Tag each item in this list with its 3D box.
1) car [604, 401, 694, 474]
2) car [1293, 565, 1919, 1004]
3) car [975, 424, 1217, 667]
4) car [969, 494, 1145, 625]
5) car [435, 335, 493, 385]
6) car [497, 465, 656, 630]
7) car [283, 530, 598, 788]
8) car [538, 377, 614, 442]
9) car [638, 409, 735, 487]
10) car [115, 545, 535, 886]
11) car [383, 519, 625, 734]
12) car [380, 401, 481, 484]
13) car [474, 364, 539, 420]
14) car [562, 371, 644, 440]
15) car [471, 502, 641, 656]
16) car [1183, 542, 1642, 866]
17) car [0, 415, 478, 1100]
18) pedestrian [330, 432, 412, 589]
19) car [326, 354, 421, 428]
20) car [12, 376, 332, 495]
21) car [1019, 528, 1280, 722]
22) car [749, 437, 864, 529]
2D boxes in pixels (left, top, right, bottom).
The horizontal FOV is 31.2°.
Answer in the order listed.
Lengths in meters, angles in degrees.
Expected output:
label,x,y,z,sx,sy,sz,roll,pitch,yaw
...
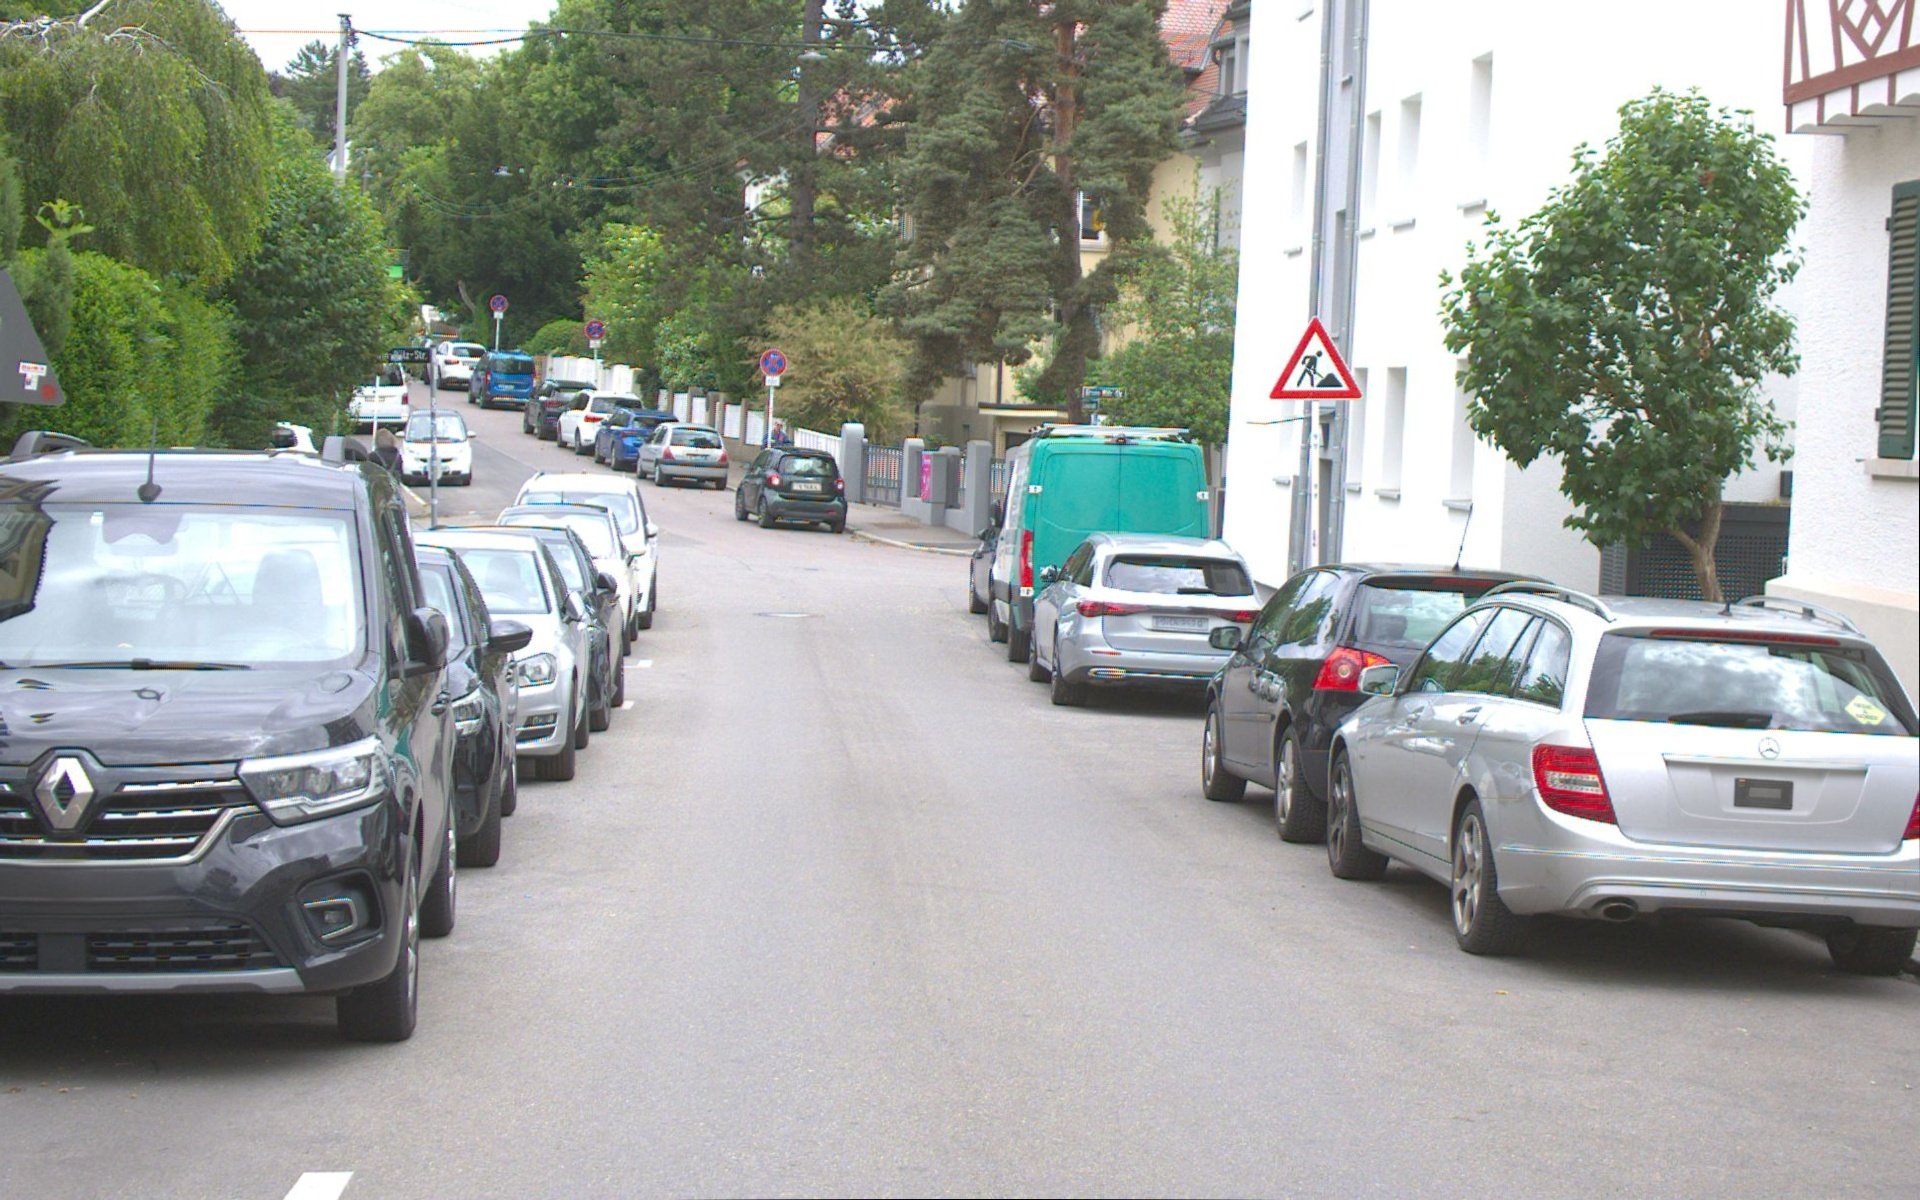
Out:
label,x,y,z,sx,sy,sz,roll,pitch,yaw
car,-7.495,-3.912,82.681,1.634,1.478,3.532,3,5,-13
car,2.748,0.656,14.623,1.818,1.437,4.452,3,1,-5
car,1.373,-0.635,36.487,1.980,2.354,4.278,2,2,-5
car,1.161,-0.540,42.745,1.724,1.443,3.882,2,2,-5
car,-17.132,-8.296,118.620,1.634,1.532,3.532,3,5,-13
car,-4.417,-0.657,39.980,1.672,1.651,3.865,1,4,-5
car,-3.158,0.298,21.522,1.642,1.412,3.985,1,1,-5
car,-10.566,-5.237,94.409,1.634,1.532,3.532,3,5,-13
car,-6.230,-3.476,78.108,1.634,1.478,3.532,3,5,-13
car,-2.944,0.466,16.592,1.642,1.383,3.860,1,1,-6
car,-3.416,0.143,26.271,1.596,1.473,3.992,1,1,-5
car,-11.613,-3.467,75.262,1.672,1.651,3.865,0,4,-16
car,-14.340,-6.595,108.624,1.634,1.532,3.532,3,5,-13
car,-9.218,-5.026,88.585,1.634,1.532,3.532,3,5,-13
car,-4.178,-0.260,35.918,1.596,1.408,3.664,1,3,-5
car,2.411,0.495,19.267,1.689,1.514,3.881,3,1,-5
car,-2.603,0.387,11.381,1.844,1.809,4.545,1,1,-7
pedestrian,-7.468,-1.142,43.619,0.791,1.926,0.919,3,2,-1
car,-15.970,-5.711,93.447,1.903,1.870,4.598,0,4,-18
car,-12.755,-2.656,55.866,1.998,1.634,4.801,5,2,39
car,1.587,0.165,30.154,1.724,1.443,3.882,2,2,-5
car,-2.998,-2.287,66.568,1.634,1.478,3.532,3,5,-11
